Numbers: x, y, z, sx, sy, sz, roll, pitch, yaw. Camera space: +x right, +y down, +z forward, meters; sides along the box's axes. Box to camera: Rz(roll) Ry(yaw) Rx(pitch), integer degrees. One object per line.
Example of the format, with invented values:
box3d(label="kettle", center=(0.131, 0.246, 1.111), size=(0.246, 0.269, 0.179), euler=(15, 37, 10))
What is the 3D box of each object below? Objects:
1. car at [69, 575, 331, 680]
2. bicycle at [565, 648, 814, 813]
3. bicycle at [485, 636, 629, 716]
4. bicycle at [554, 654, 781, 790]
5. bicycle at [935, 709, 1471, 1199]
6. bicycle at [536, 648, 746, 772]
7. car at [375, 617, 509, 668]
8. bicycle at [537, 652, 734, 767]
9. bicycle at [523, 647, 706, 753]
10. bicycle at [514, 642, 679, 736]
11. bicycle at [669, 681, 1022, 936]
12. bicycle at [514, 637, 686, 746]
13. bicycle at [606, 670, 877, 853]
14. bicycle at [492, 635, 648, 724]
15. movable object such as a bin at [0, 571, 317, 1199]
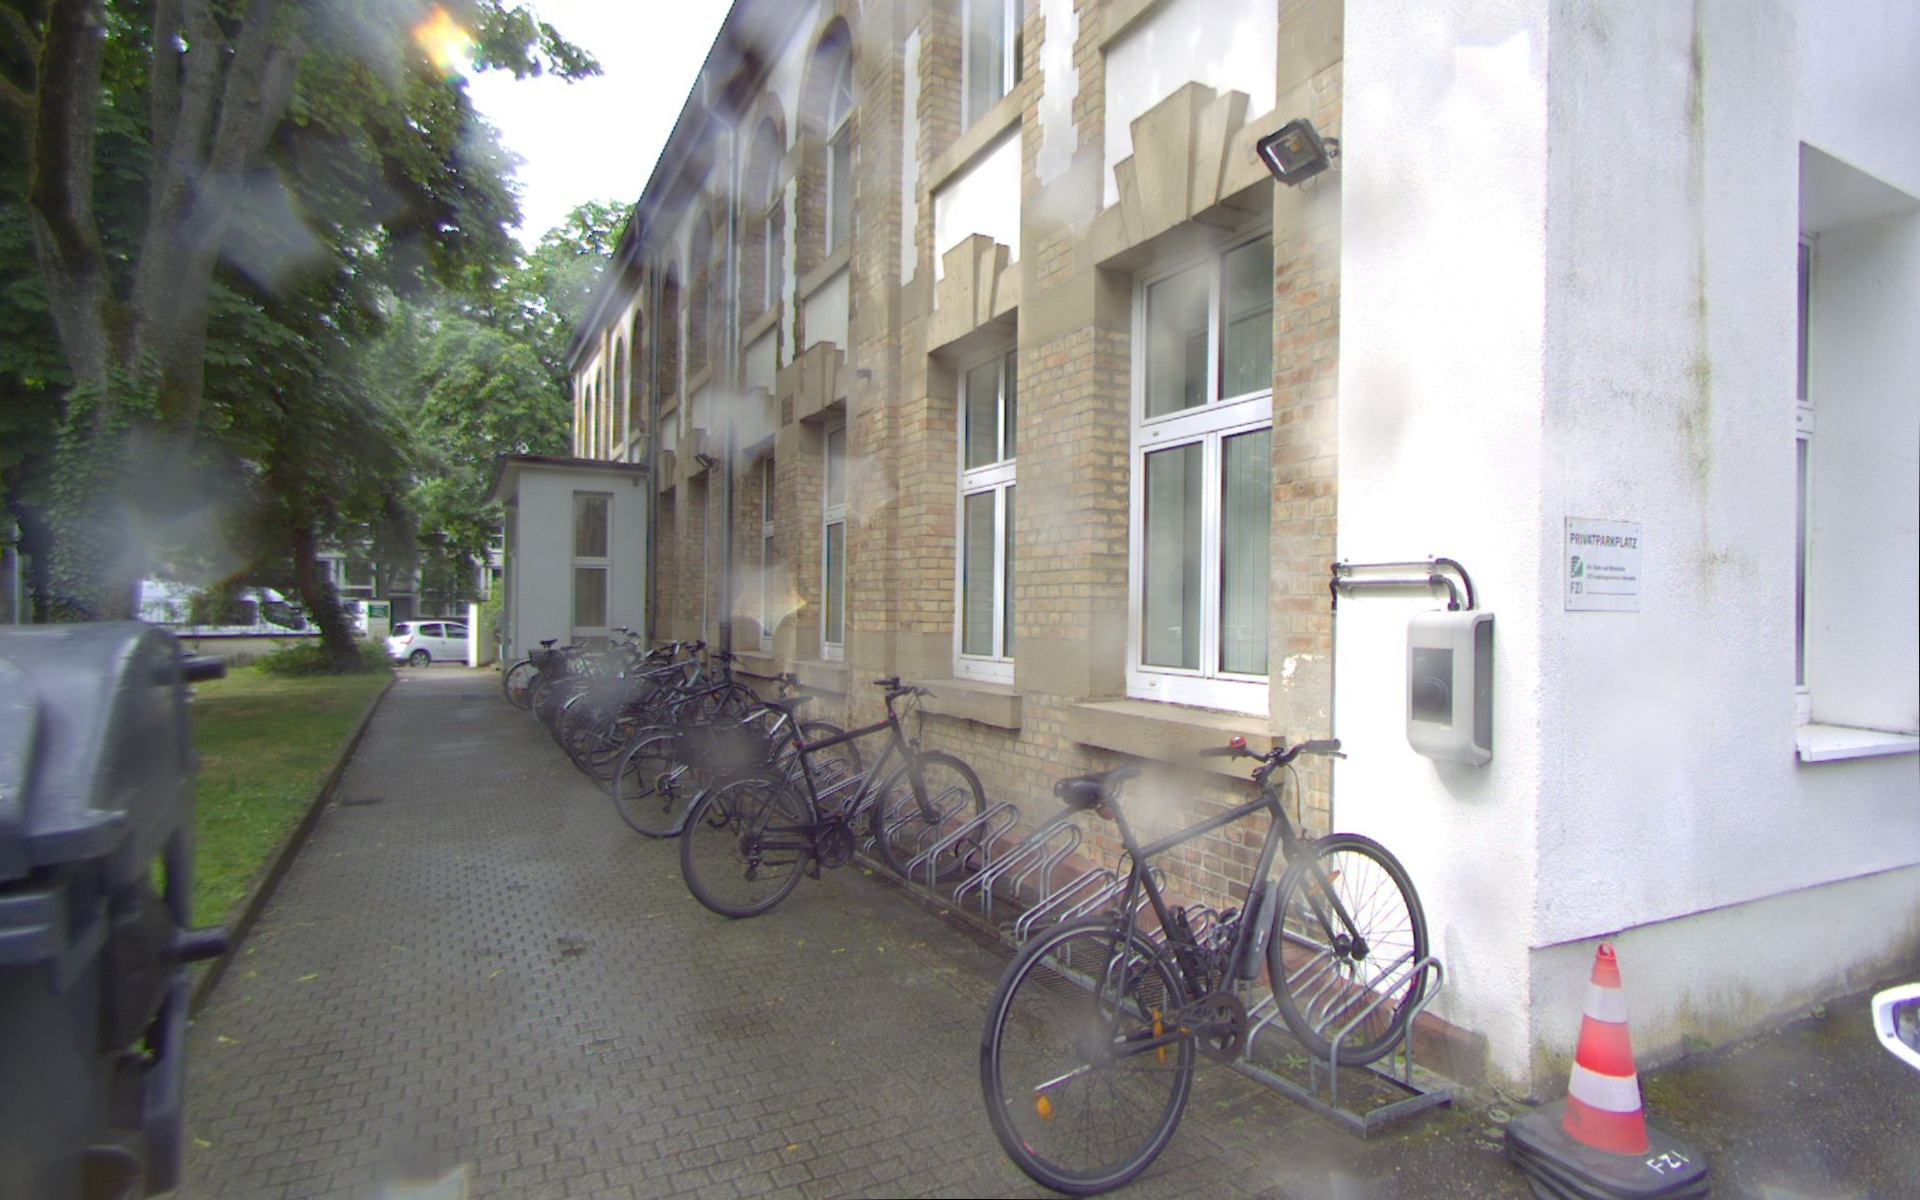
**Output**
box3d(label="car", center=(-20.324, 0.749, 27.139), size=(2.104, 2.543, 5.258), euler=(-2, -2, 34))
box3d(label="bicycle", center=(-2.229, 1.033, 8.375), size=(1.903, 1.240, 0.613), euler=(2, -2, -29))
box3d(label="bicycle", center=(-5.951, 1.104, 14.876), size=(1.903, 1.130, 0.613), euler=(2, -2, -29))
box3d(label="bicycle", center=(-2.653, 1.069, 9.193), size=(1.903, 1.130, 0.613), euler=(2, -2, -29))
box3d(label="bicycle", center=(0.737, 0.924, 2.936), size=(1.501, 1.130, 0.613), euler=(2, -2, -29))
box3d(label="bicycle", center=(-3.159, 1.053, 10.003), size=(1.903, 1.130, 0.613), euler=(2, -2, -29))
box3d(label="car", center=(-16.712, 1.371, 32.507), size=(1.883, 1.571, 3.359), euler=(-2, -3, 36))
box3d(label="bicycle", center=(-3.426, 1.125, 10.680), size=(1.903, 1.130, 0.613), euler=(2, -2, -29))
box3d(label="bicycle", center=(-3.949, 1.117, 11.532), size=(1.903, 1.130, 0.613), euler=(2, -2, -29))
box3d(label="bicycle", center=(-4.634, 1.115, 12.861), size=(1.903, 1.130, 0.613), euler=(2, -2, -29))
box3d(label="bicycle", center=(-0.579, 1.021, 5.349), size=(1.766, 1.130, 0.613), euler=(2, -2, -29))
box3d(label="bicycle", center=(-4.366, 1.071, 12.215), size=(1.902, 1.192, 0.613), euler=(0, 0, -29))
box3d(label="bicycle", center=(-1.519, 1.077, 7.092), size=(1.766, 1.130, 0.613), euler=(2, -2, -29))
box3d(label="bicycle", center=(-5.274, 1.055, 13.616), size=(1.903, 1.130, 0.613), euler=(2, -2, -29))
box3d(label="movable object such as a bin", center=(-1.585, 0.731, 0.984), size=(1.578, 1.502, 1.158), euler=(2, -3, -33))
